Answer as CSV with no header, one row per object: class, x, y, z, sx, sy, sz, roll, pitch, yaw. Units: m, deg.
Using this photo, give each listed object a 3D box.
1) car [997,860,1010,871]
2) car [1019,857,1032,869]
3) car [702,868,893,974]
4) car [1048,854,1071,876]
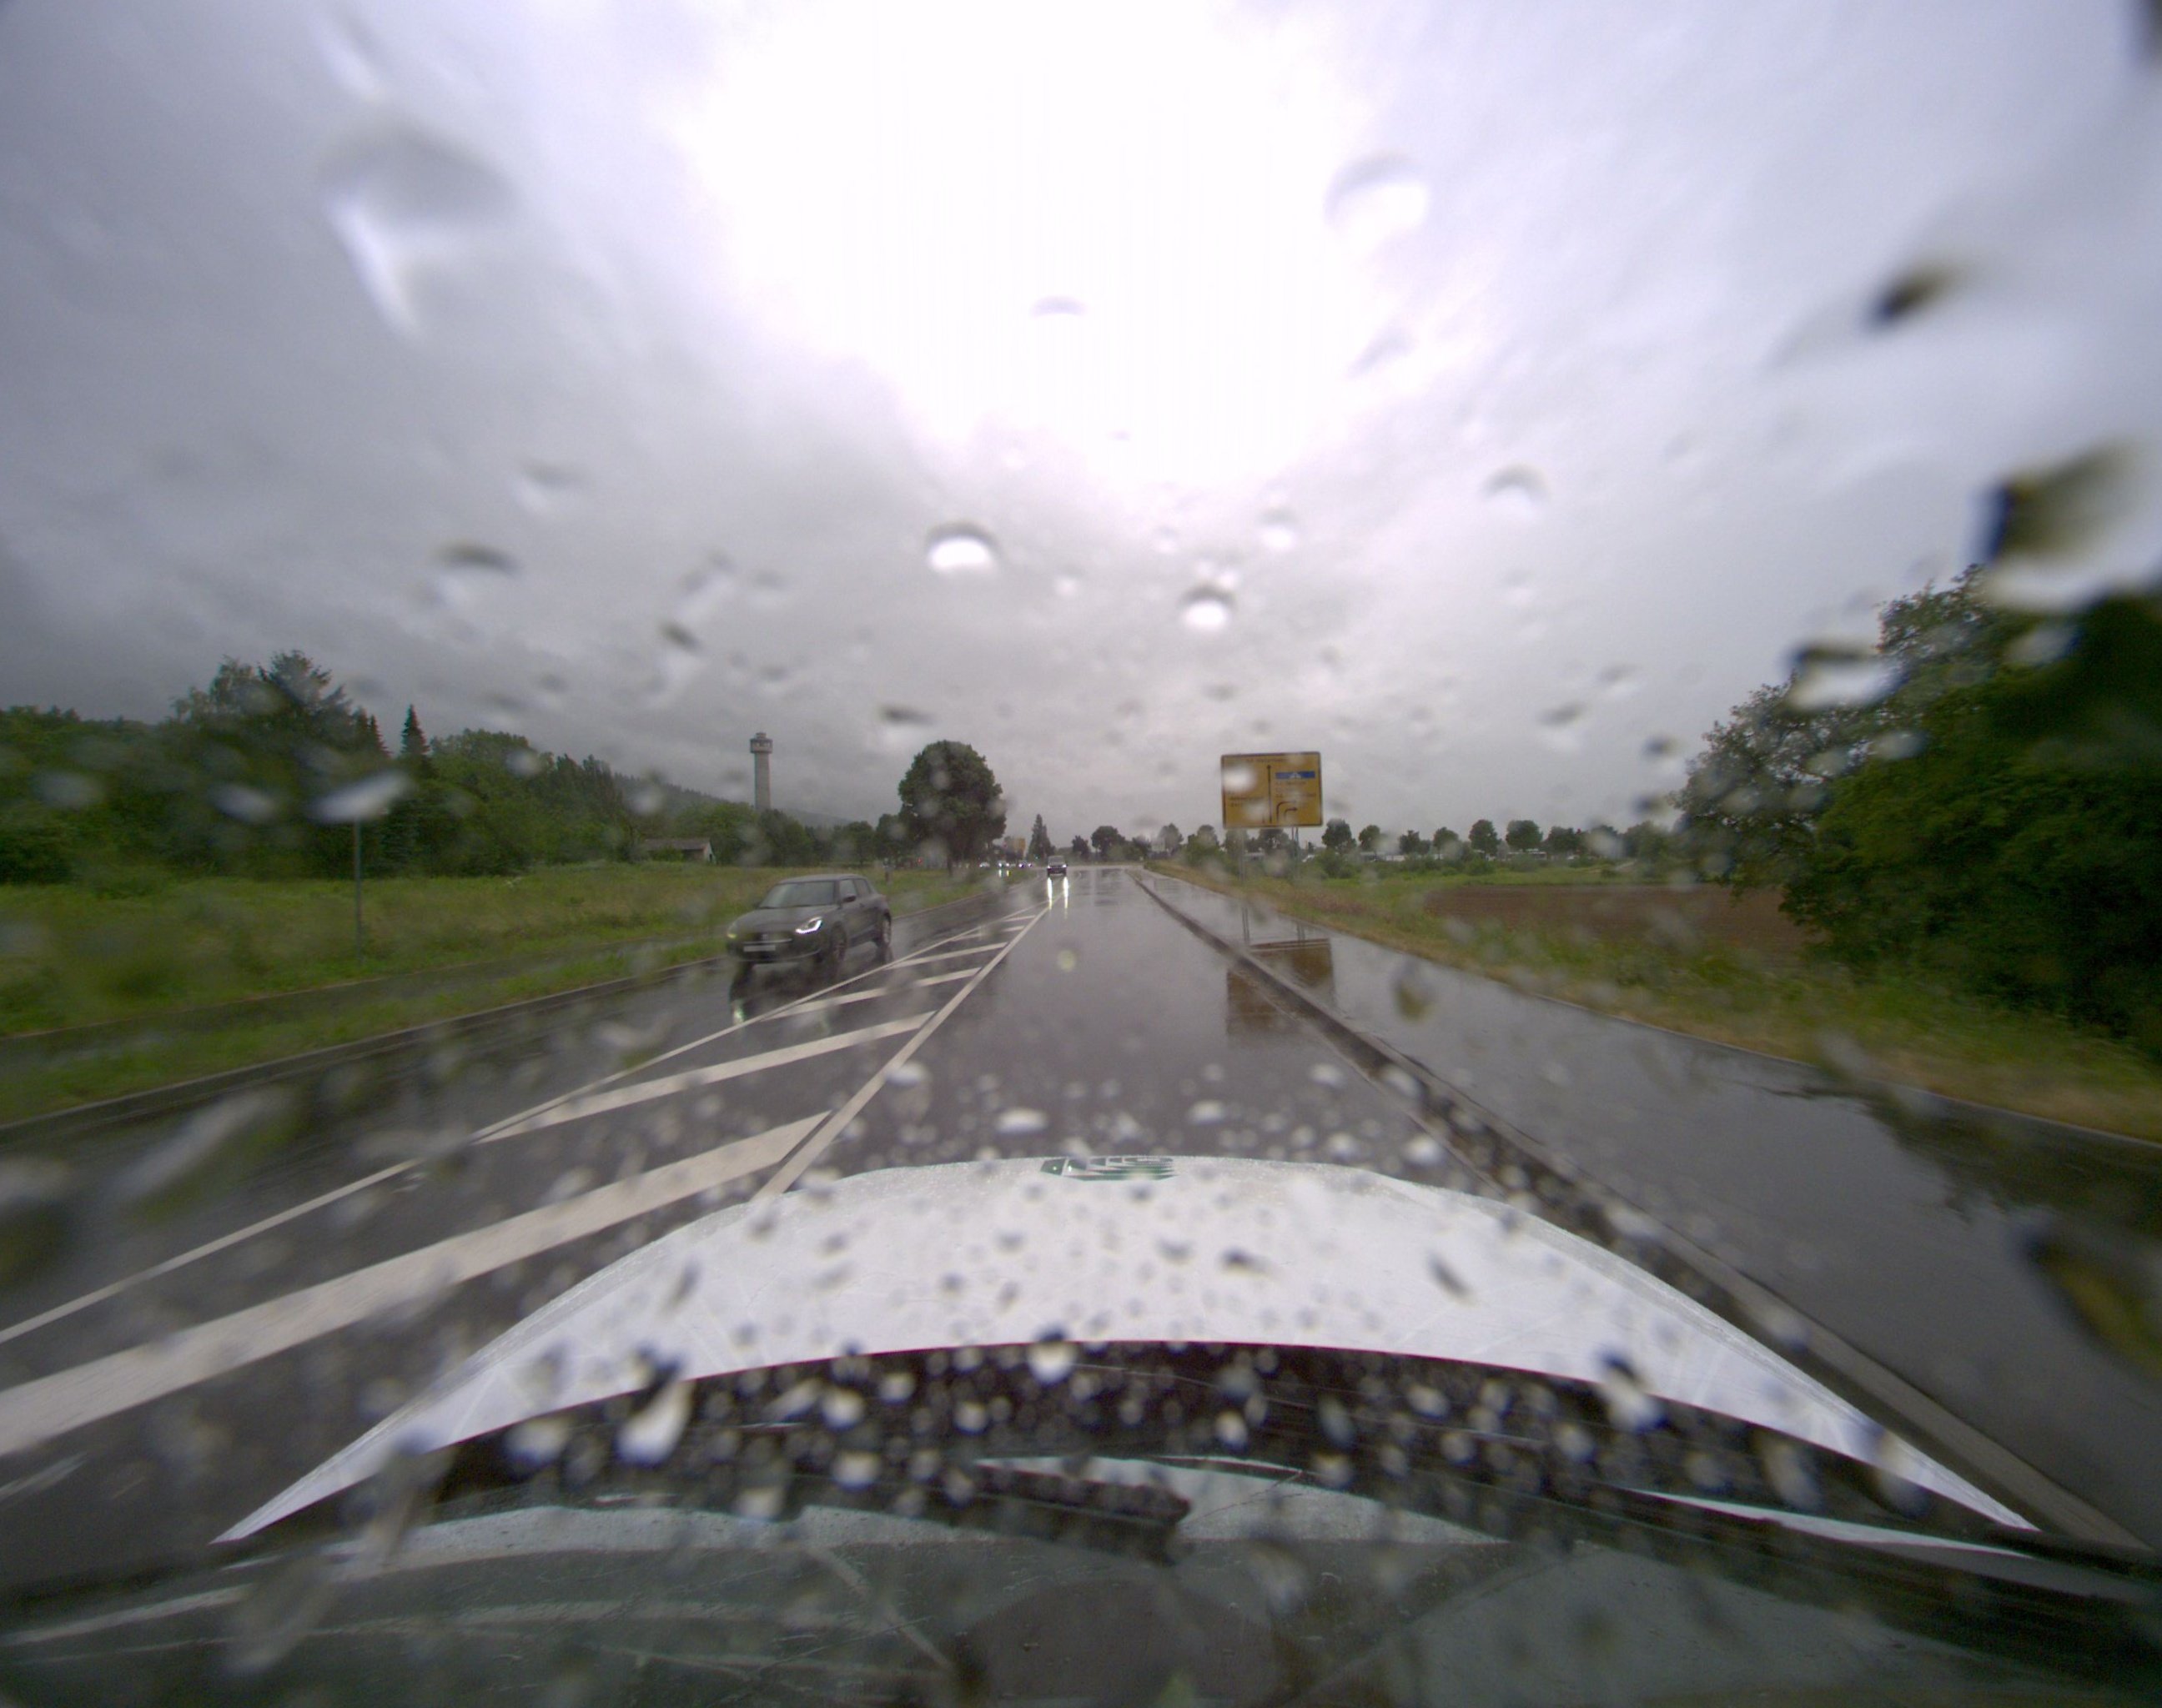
car,-14.834,2.197,156.402,1.996,2.014,3.982,0,-1,-13
car,-9.234,1.477,134.787,1.903,1.721,3.992,-5,0,-6
car,-4.659,1.031,14.001,1.690,1.402,3.770,-4,0,3
car,-2.127,1.098,80.896,1.987,1.972,4.957,-4,0,0
